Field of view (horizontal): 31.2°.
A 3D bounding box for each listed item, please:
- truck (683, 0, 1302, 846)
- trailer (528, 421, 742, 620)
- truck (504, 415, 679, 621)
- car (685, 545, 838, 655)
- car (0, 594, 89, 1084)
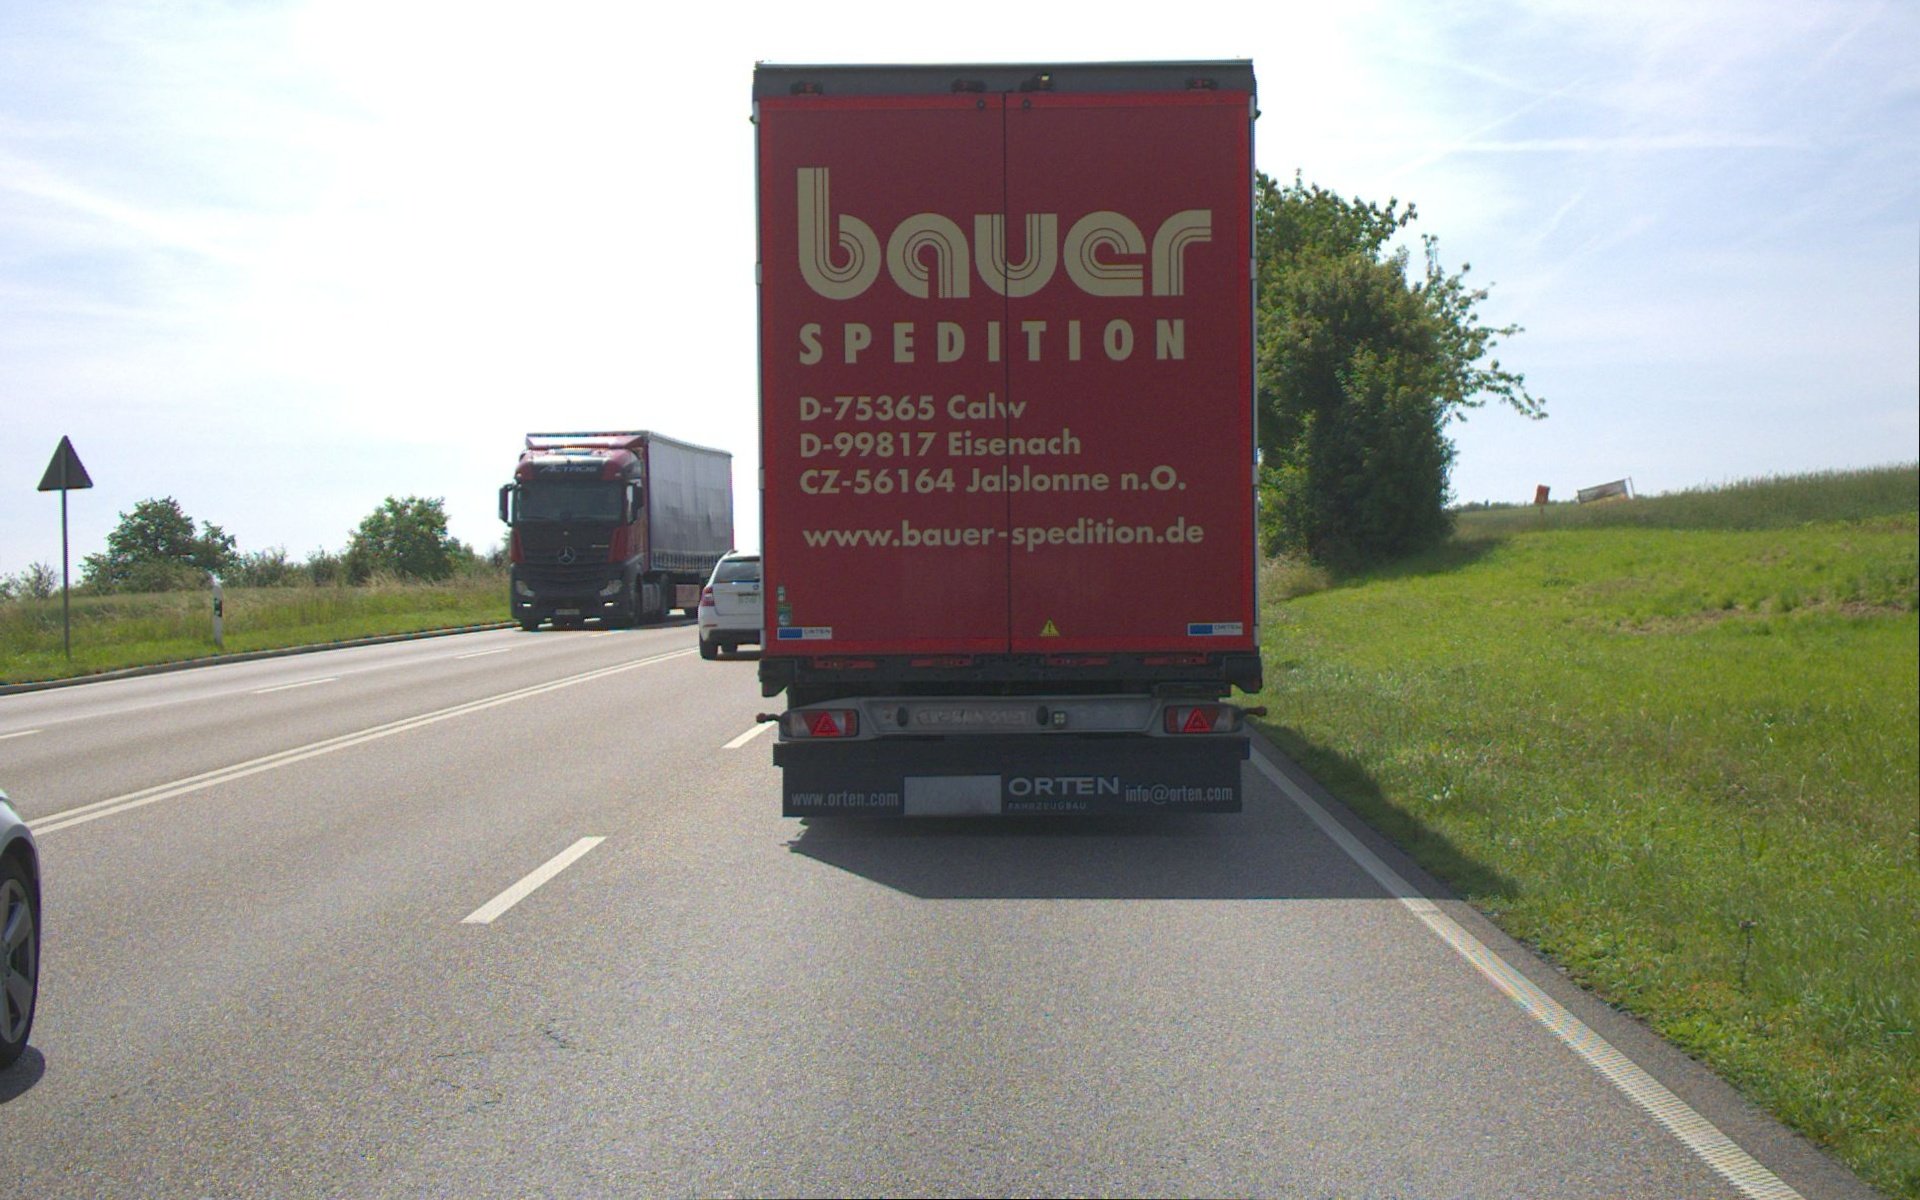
[{"bbox_3d":[0.265,-0.986,25.328,3.007,4.166,16.714,1,1,1],"label":"truck"},{"bbox_3d":[-7.249,-1.786,78.829,2.545,4.087,13.582,-2,1,4],"label":"trailer"},{"bbox_3d":[-7.689,-1.701,72.467,2.617,4.087,6.088,-2,1,3],"label":"truck"},{"bbox_3d":[-2.754,-0.042,48.648,1.821,1.467,4.789,1,1,1],"label":"car"},{"bbox_3d":[-3.566,0.700,8.403,1.703,1.371,4.603,0,1,0],"label":"car"}]
